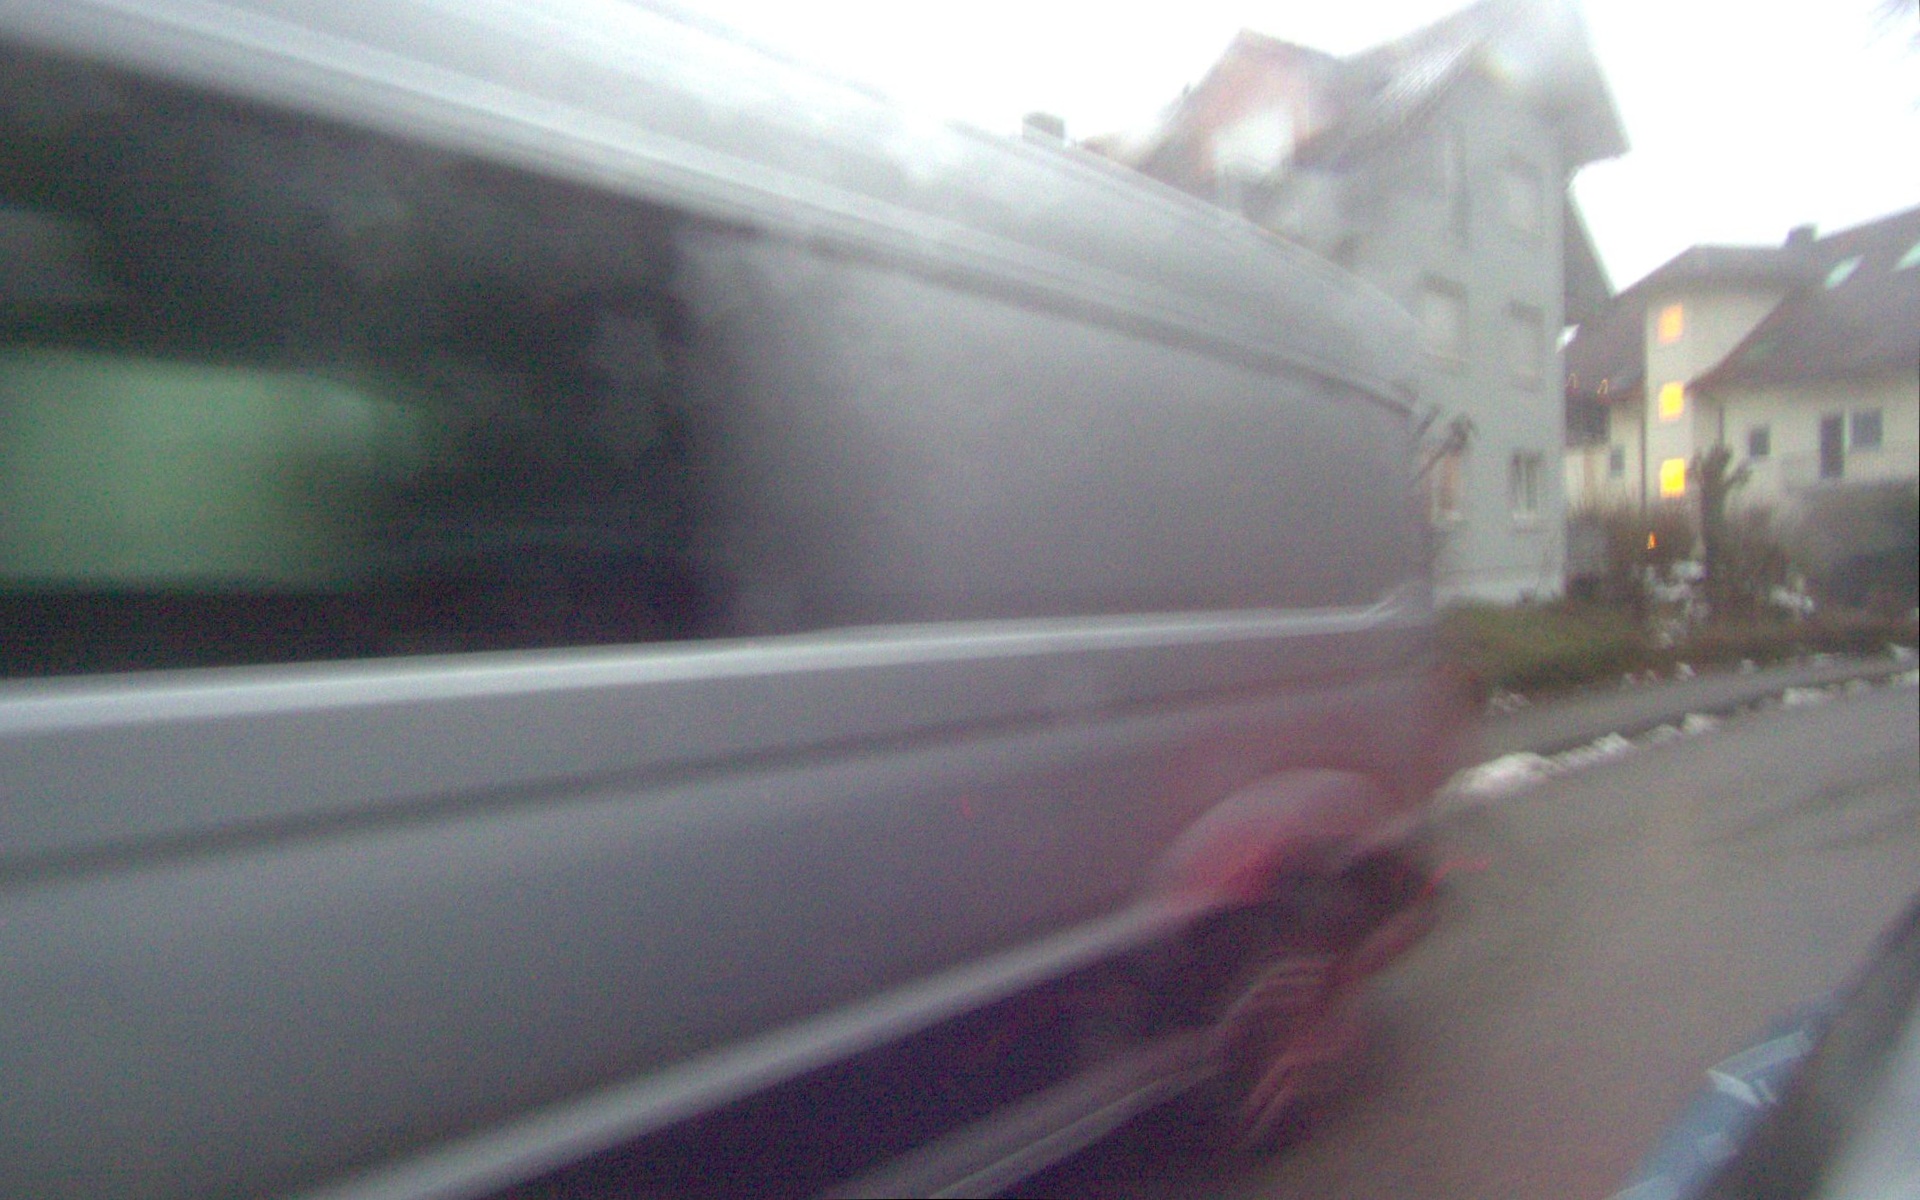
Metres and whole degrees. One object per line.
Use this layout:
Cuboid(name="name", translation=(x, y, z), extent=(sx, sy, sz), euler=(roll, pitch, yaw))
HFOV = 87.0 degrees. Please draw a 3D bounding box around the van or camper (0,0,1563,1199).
Cuboid(name="van or camper", translation=(-1.169, 0.124, 2.032), extent=(6.673, 2.539, 2.018), euler=(0, 1, -40))
